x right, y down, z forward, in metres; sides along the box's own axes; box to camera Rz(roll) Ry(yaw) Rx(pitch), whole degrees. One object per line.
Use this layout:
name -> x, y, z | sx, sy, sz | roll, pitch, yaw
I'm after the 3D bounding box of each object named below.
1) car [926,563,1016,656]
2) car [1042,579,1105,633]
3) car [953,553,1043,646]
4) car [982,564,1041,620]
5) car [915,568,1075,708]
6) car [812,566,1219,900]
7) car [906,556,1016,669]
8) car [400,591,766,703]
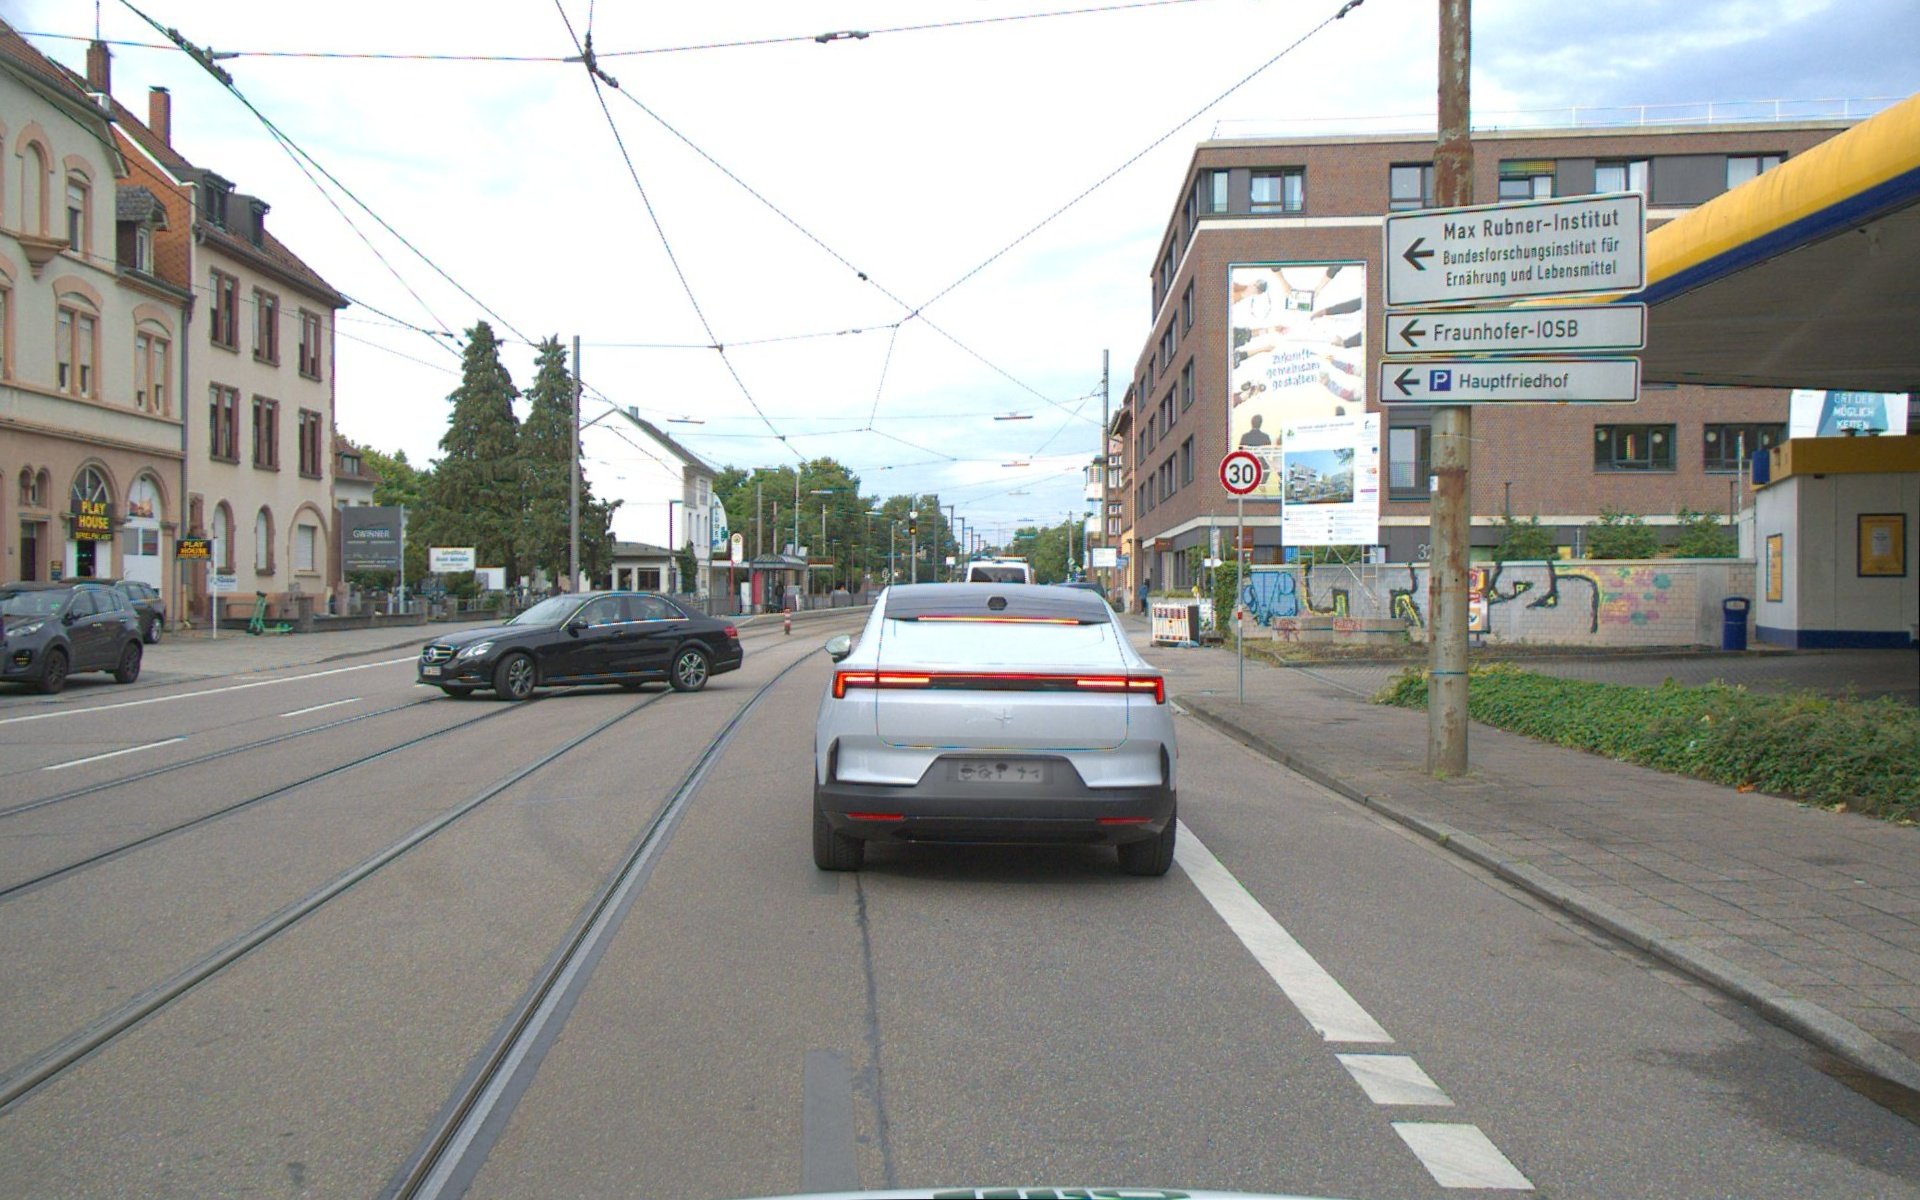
car -> 0.211, 0.228, 39.094 | 1.953, 2.049, 3.999 | 1, 0, -2
car -> 4.061, 0.222, 59.955 | 1.837, 1.855, 4.094 | 1, 0, -2
car -> 1.023, 0.004, 47.405 | 2.172, 2.465, 4.948 | 1, 0, -3
car -> 2.081, -0.313, 68.476 | 2.096, 2.183, 4.741 | 1, 0, -2
car -> 0.406, 0.505, 23.402 | 1.930, 1.787, 3.835 | 1, 0, -3
car -> 0.107, 0.638, 10.047 | 1.943, 1.577, 4.179 | 1, 0, -5
car -> -0.046, 0.248, 32.661 | 1.954, 2.049, 3.998 | 1, 0, -3
car -> -5.354, 0.600, 23.873 | 4.837, 1.452, 1.926 | -1, 0, -39
